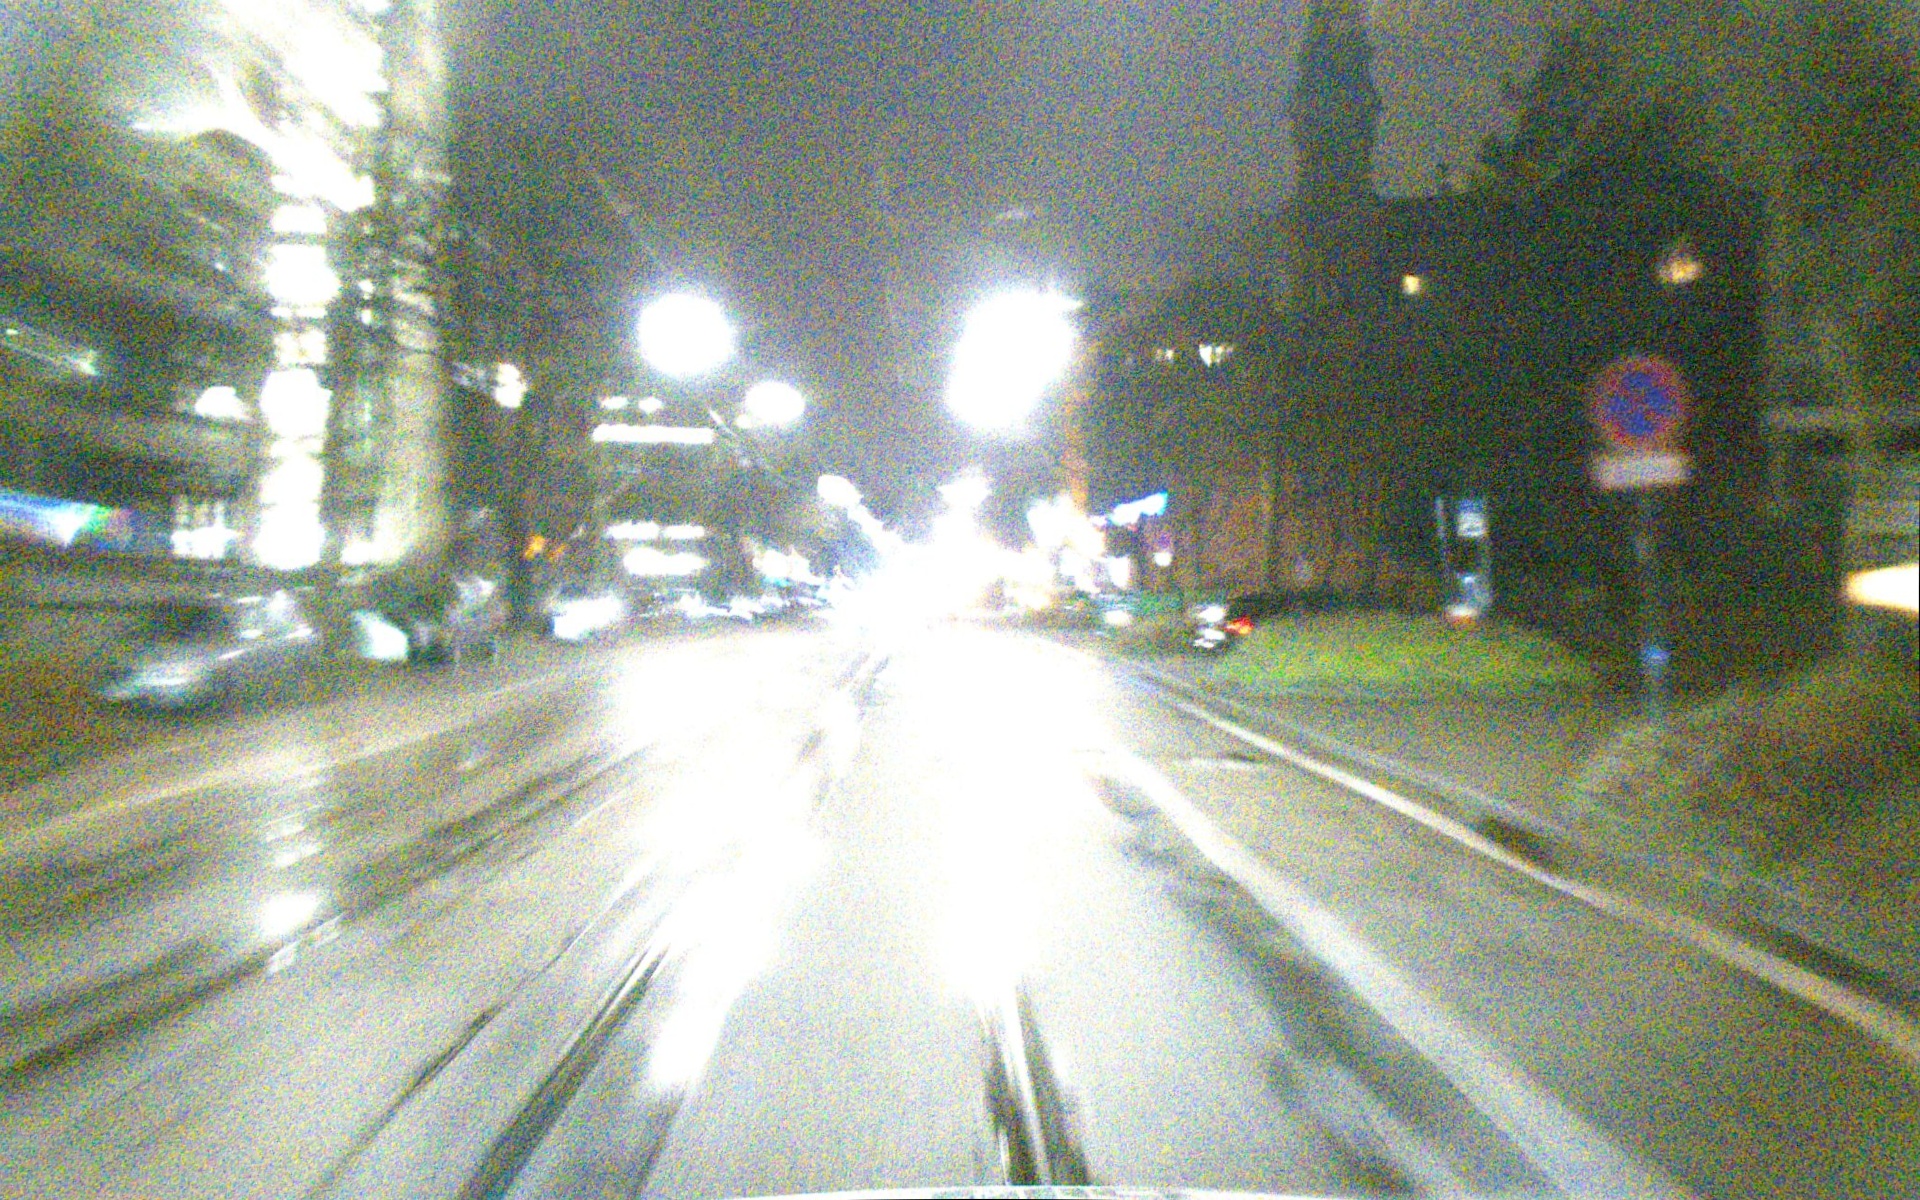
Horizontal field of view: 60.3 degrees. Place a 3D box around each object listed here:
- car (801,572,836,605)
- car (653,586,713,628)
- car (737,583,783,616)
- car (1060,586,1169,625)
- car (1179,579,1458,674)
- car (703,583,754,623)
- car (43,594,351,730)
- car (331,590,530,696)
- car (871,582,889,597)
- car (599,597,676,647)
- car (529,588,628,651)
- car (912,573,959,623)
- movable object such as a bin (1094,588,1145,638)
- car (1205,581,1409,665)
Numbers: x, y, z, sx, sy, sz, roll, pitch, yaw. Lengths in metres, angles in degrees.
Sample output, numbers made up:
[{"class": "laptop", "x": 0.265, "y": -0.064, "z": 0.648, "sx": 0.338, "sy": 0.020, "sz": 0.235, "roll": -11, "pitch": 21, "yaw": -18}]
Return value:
[{"class": "car", "x": -11.621, "y": -0.939, "z": 136.302, "sx": 2.140, "sy": 2.637, "sz": 6.393, "roll": 1, "pitch": 1, "yaw": 1}, {"class": "car", "x": -10.167, "y": 0.226, "z": 61.007, "sx": 1.851, "sy": 1.488, "sz": 4.954, "roll": 0, "pitch": 0, "yaw": -5}, {"class": "car", "x": -10.467, "y": -0.007, "z": 86.942, "sx": 1.943, "sy": 1.659, "sz": 4.516, "roll": 1, "pitch": 0, "yaw": -1}, {"class": "car", "x": 6.270, "y": 0.226, "z": 67.224, "sx": 4.043, "sy": 1.564, "sz": 1.944, "roll": 1, "pitch": 0, "yaw": -27}, {"class": "car", "x": 6.245, "y": 0.418, "z": 28.820, "sx": 4.519, "sy": 1.501, "sz": 1.828, "roll": -1, "pitch": 0, "yaw": -21}, {"class": "car", "x": -10.200, "y": 0.126, "z": 73.111, "sx": 1.843, "sy": 1.572, "sz": 4.396, "roll": 4, "pitch": 0, "yaw": -4}, {"class": "car", "x": -9.183, "y": 0.675, "z": 20.375, "sx": 1.696, "sy": 1.463, "sz": 4.625, "roll": 1, "pitch": 0, "yaw": -1}, {"class": "car", "x": -9.275, "y": 0.708, "z": 29.426, "sx": 2.100, "sy": 1.648, "sz": 4.588, "roll": 3, "pitch": 0, "yaw": -2}, {"class": "car", "x": -8.578, "y": -1.105, "z": 176.805, "sx": 1.740, "sy": 1.544, "sz": 4.050, "roll": 1, "pitch": 1, "yaw": -1}, {"class": "car", "x": -9.803, "y": 0.639, "z": 50.556, "sx": 1.804, "sy": 1.448, "sz": 4.205, "roll": 0, "pitch": 0, "yaw": -4}, {"class": "car", "x": -9.403, "y": 0.453, "z": 41.109, "sx": 1.738, "sy": 1.465, "sz": 4.603, "roll": 0, "pitch": 0, "yaw": -5}, {"class": "car", "x": -1.236, "y": -0.098, "z": 81.587, "sx": 2.199, "sy": 2.402, "sz": 4.391, "roll": 1, "pitch": 0, "yaw": -2}, {"class": "movable object such as a bin", "x": 4.748, "y": 0.380, "z": 49.289, "sx": 1.297, "sy": 1.433, "sz": 1.158, "roll": -1, "pitch": 0, "yaw": -7}, {"class": "car", "x": 6.872, "y": 0.421, "z": 32.789, "sx": 3.638, "sy": 1.544, "sz": 1.649, "roll": -1, "pitch": 0, "yaw": -20}]
